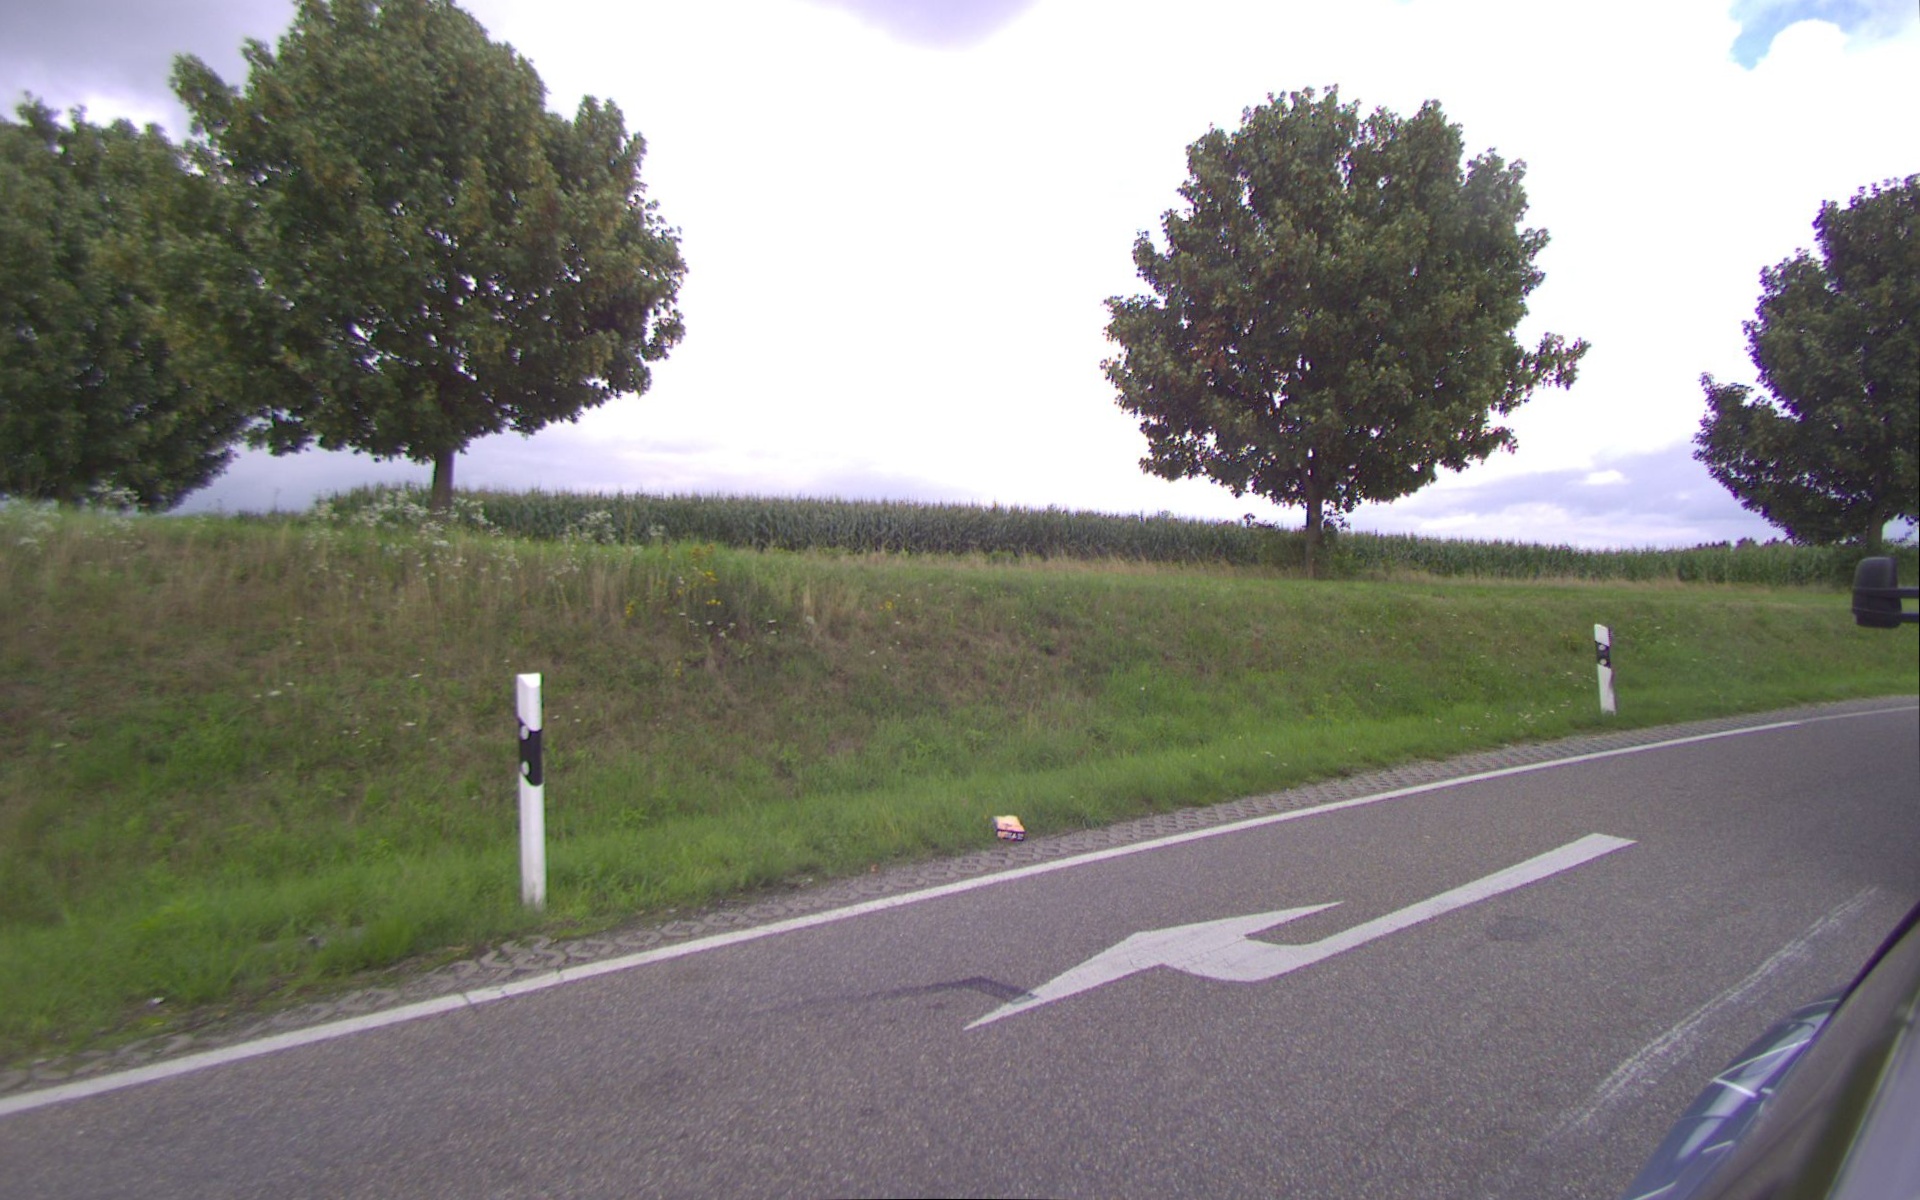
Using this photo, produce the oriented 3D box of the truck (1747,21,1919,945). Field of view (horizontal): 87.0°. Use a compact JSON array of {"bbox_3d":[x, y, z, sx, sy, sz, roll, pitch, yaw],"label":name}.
[{"bbox_3d":[7.970,-0.510,5.976,8.634,3.810,2.840,-1,2,-36],"label":"truck"}]
